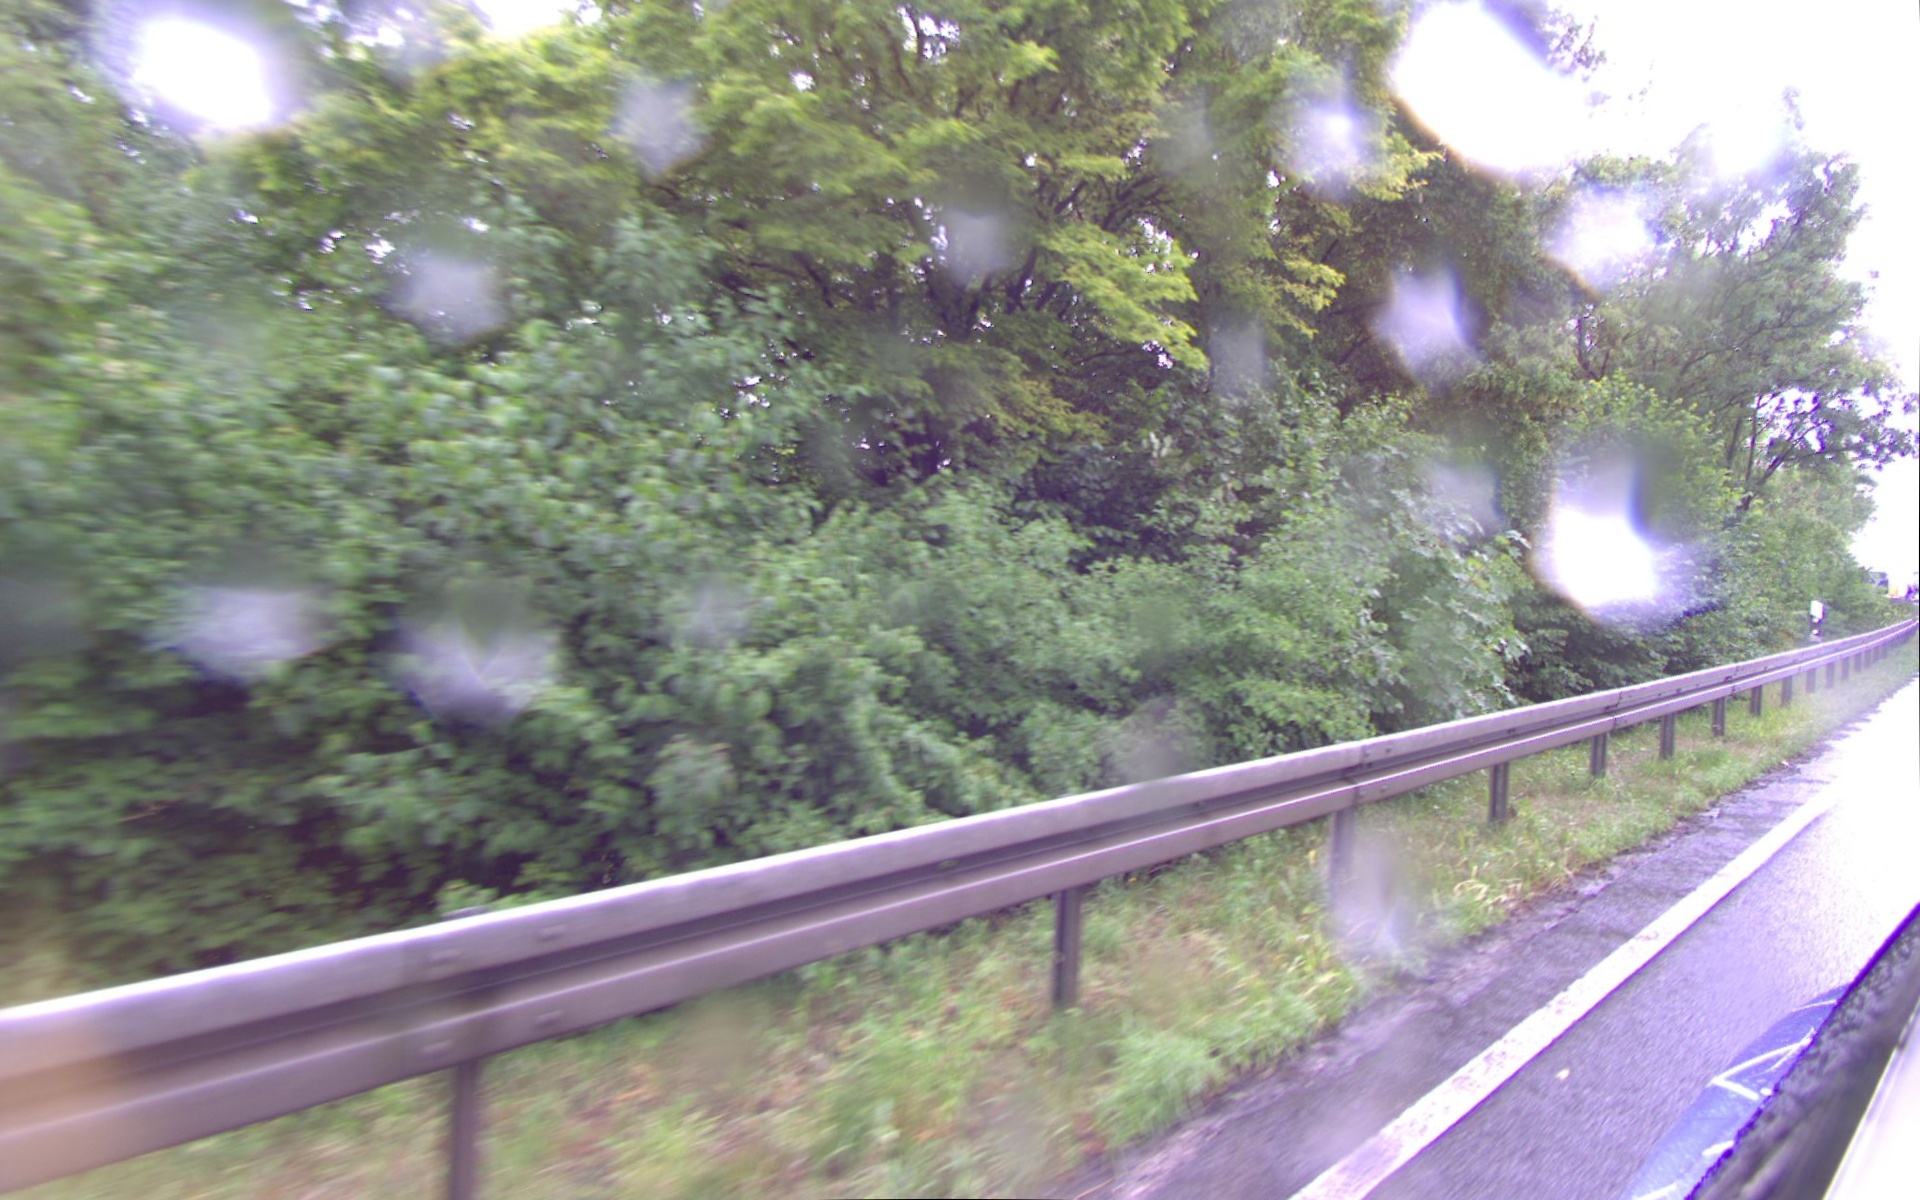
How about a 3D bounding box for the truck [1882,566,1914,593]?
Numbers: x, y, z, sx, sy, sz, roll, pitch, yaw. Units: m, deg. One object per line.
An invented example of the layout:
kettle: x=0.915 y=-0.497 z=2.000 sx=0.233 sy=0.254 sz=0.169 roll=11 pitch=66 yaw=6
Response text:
truck: x=143.743 y=-3.112 z=155.139 sx=2.466 sy=4.131 sz=7.476 roll=0 pitch=0 yaw=35
